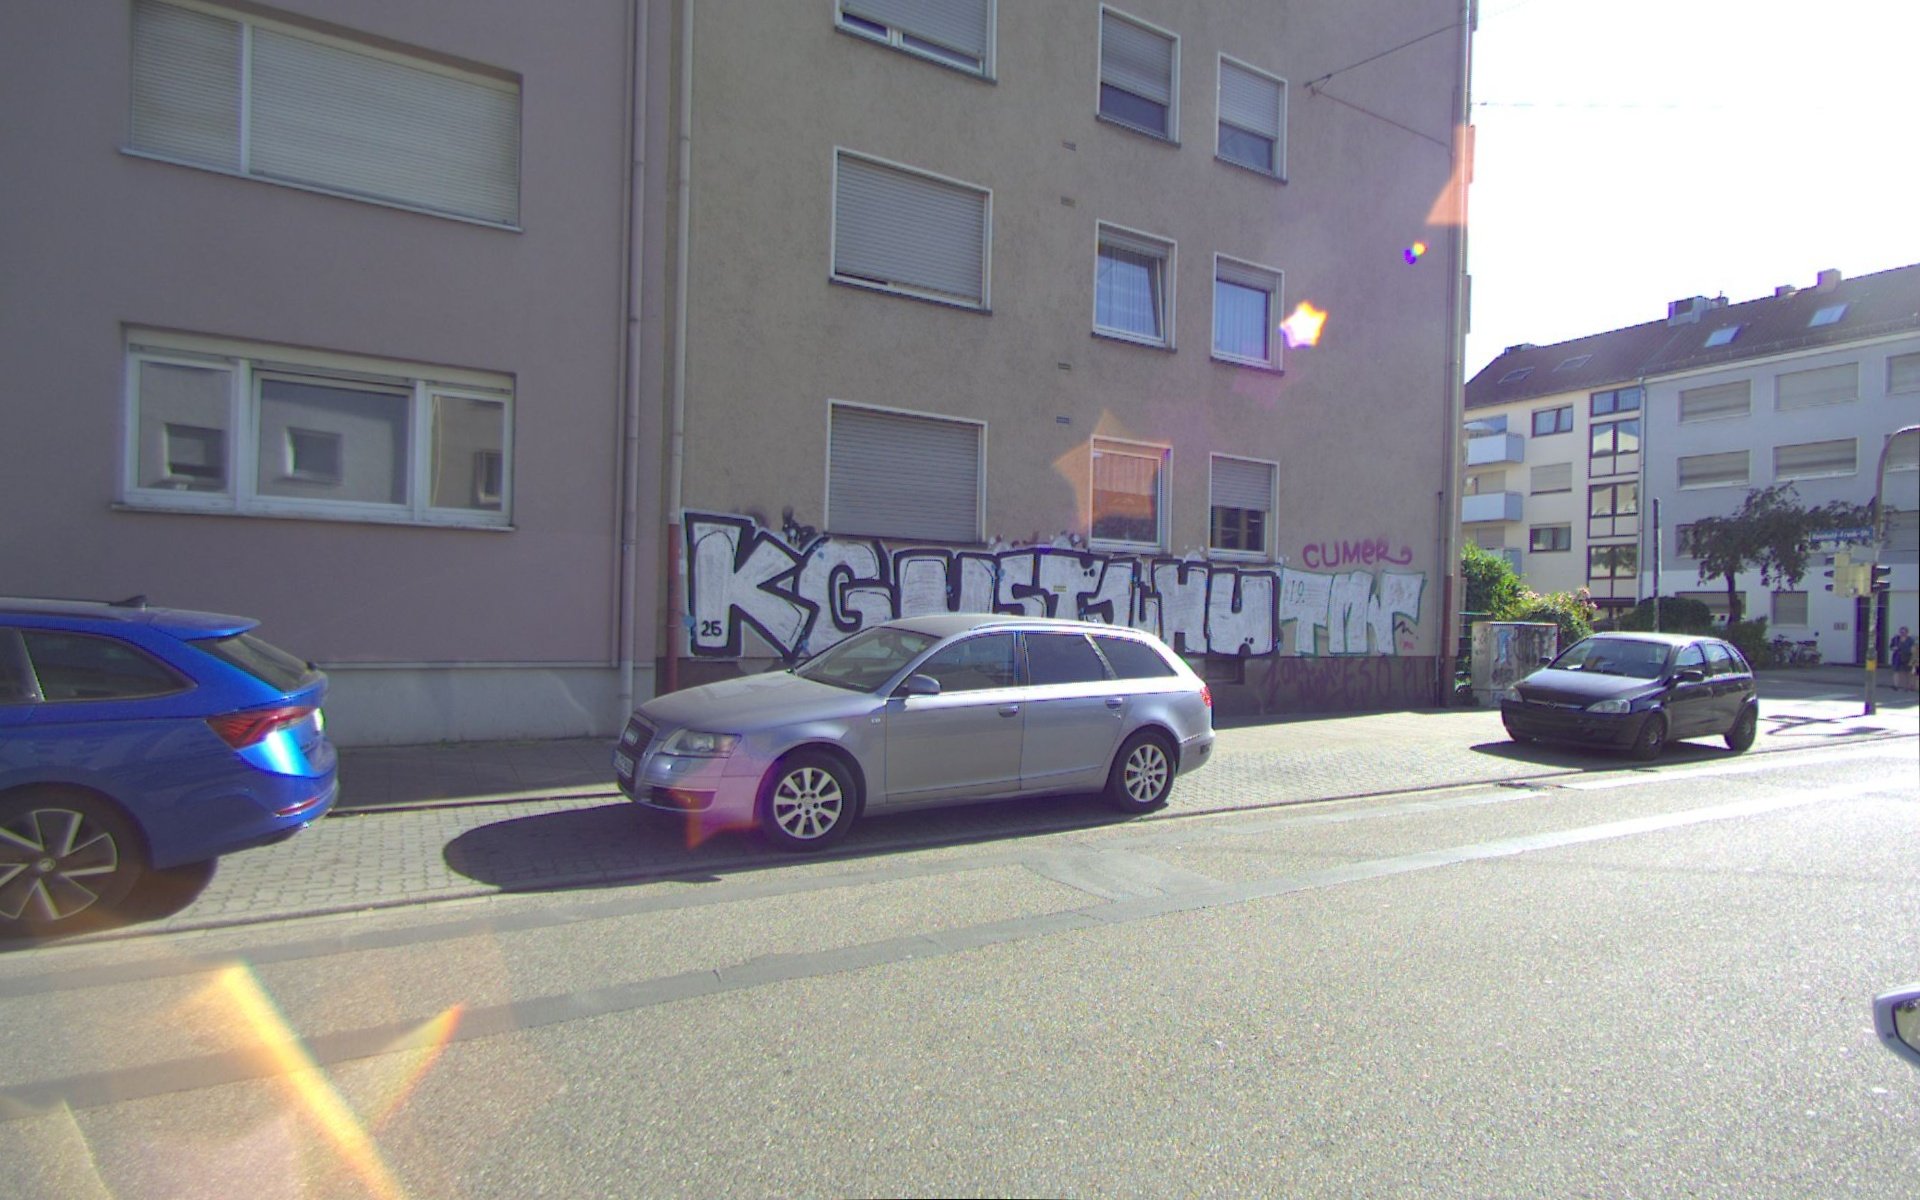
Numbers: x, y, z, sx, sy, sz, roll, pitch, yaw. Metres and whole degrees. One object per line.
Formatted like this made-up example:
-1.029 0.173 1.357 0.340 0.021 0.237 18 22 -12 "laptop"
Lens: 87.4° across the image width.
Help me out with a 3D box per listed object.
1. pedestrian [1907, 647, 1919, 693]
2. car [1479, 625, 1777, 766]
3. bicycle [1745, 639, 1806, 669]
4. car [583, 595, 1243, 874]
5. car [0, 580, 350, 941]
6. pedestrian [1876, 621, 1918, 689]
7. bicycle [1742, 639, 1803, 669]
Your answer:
24.448 1.780 25.558 0.526 1.161 0.383 1 0 -32 "pedestrian"
8.570 1.115 12.827 3.813 1.467 1.682 2 1 -32 "car"
28.329 1.867 34.910 0.506 0.952 1.583 1 -1 -27 "bicycle"
-0.212 0.810 7.696 4.747 1.523 1.813 2 1 -32 "car"
-5.573 0.669 4.559 4.747 1.523 1.813 2 1 -32 "car"
24.296 1.416 26.054 0.958 1.705 0.570 1 0 -33 "pedestrian"
27.905 1.850 34.523 0.506 0.952 1.583 1 -1 -27 "bicycle"
